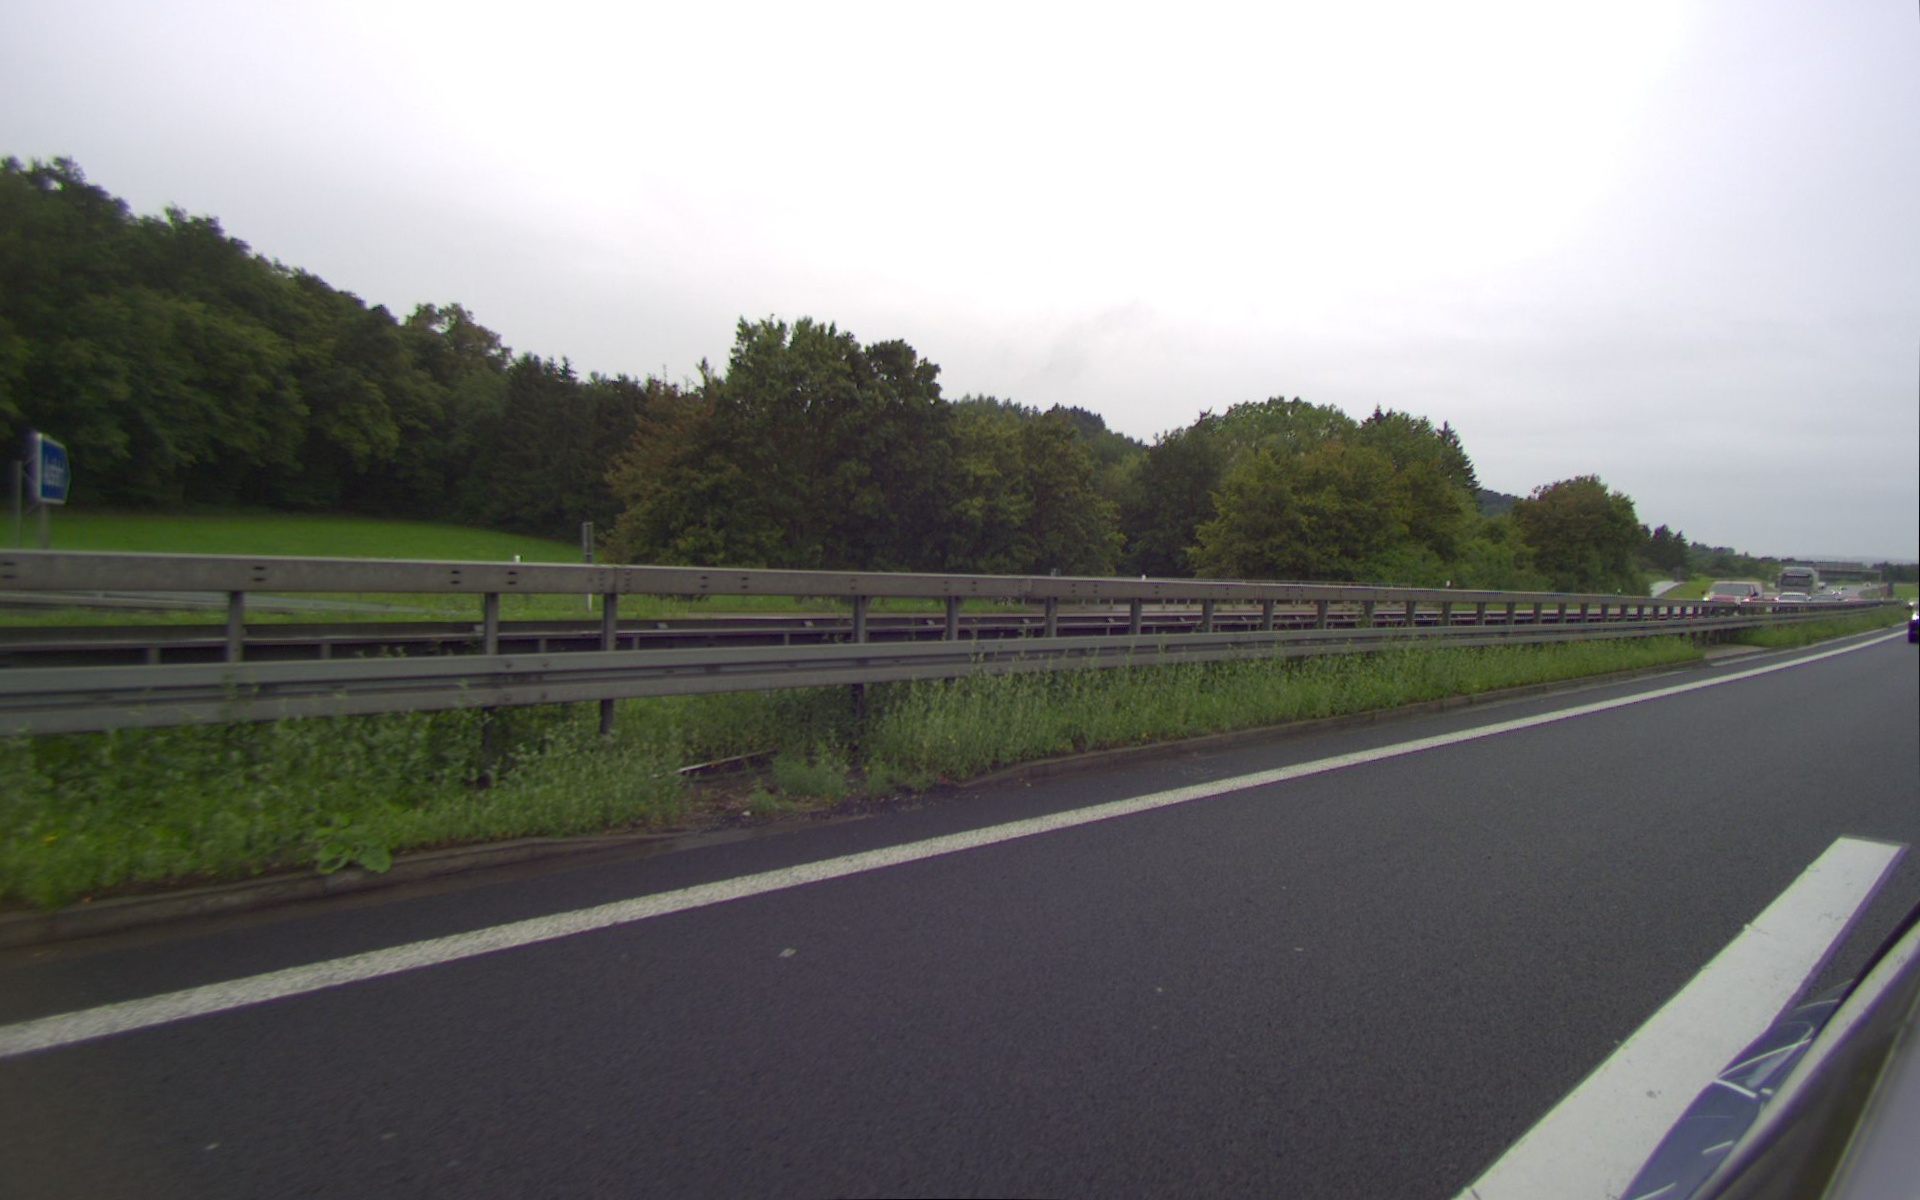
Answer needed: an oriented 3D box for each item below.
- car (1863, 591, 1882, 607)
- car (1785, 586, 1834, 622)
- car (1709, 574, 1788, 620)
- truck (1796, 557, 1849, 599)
[{"bbox_3d":[120.114,-0.164,133.292,1.746,2.038,4.431,2,2,41],"label":"car"},{"bbox_3d":[50.334,0.196,59.925,4.424,2.038,1.749,-1,2,-44],"label":"car"},{"bbox_3d":[37.957,-0.173,48.657,4.990,2.038,2.128,-1,2,-42],"label":"car"},{"bbox_3d":[85.130,-2.174,99.831,9.860,3.949,2.795,-1,2,-43],"label":"truck"}]
